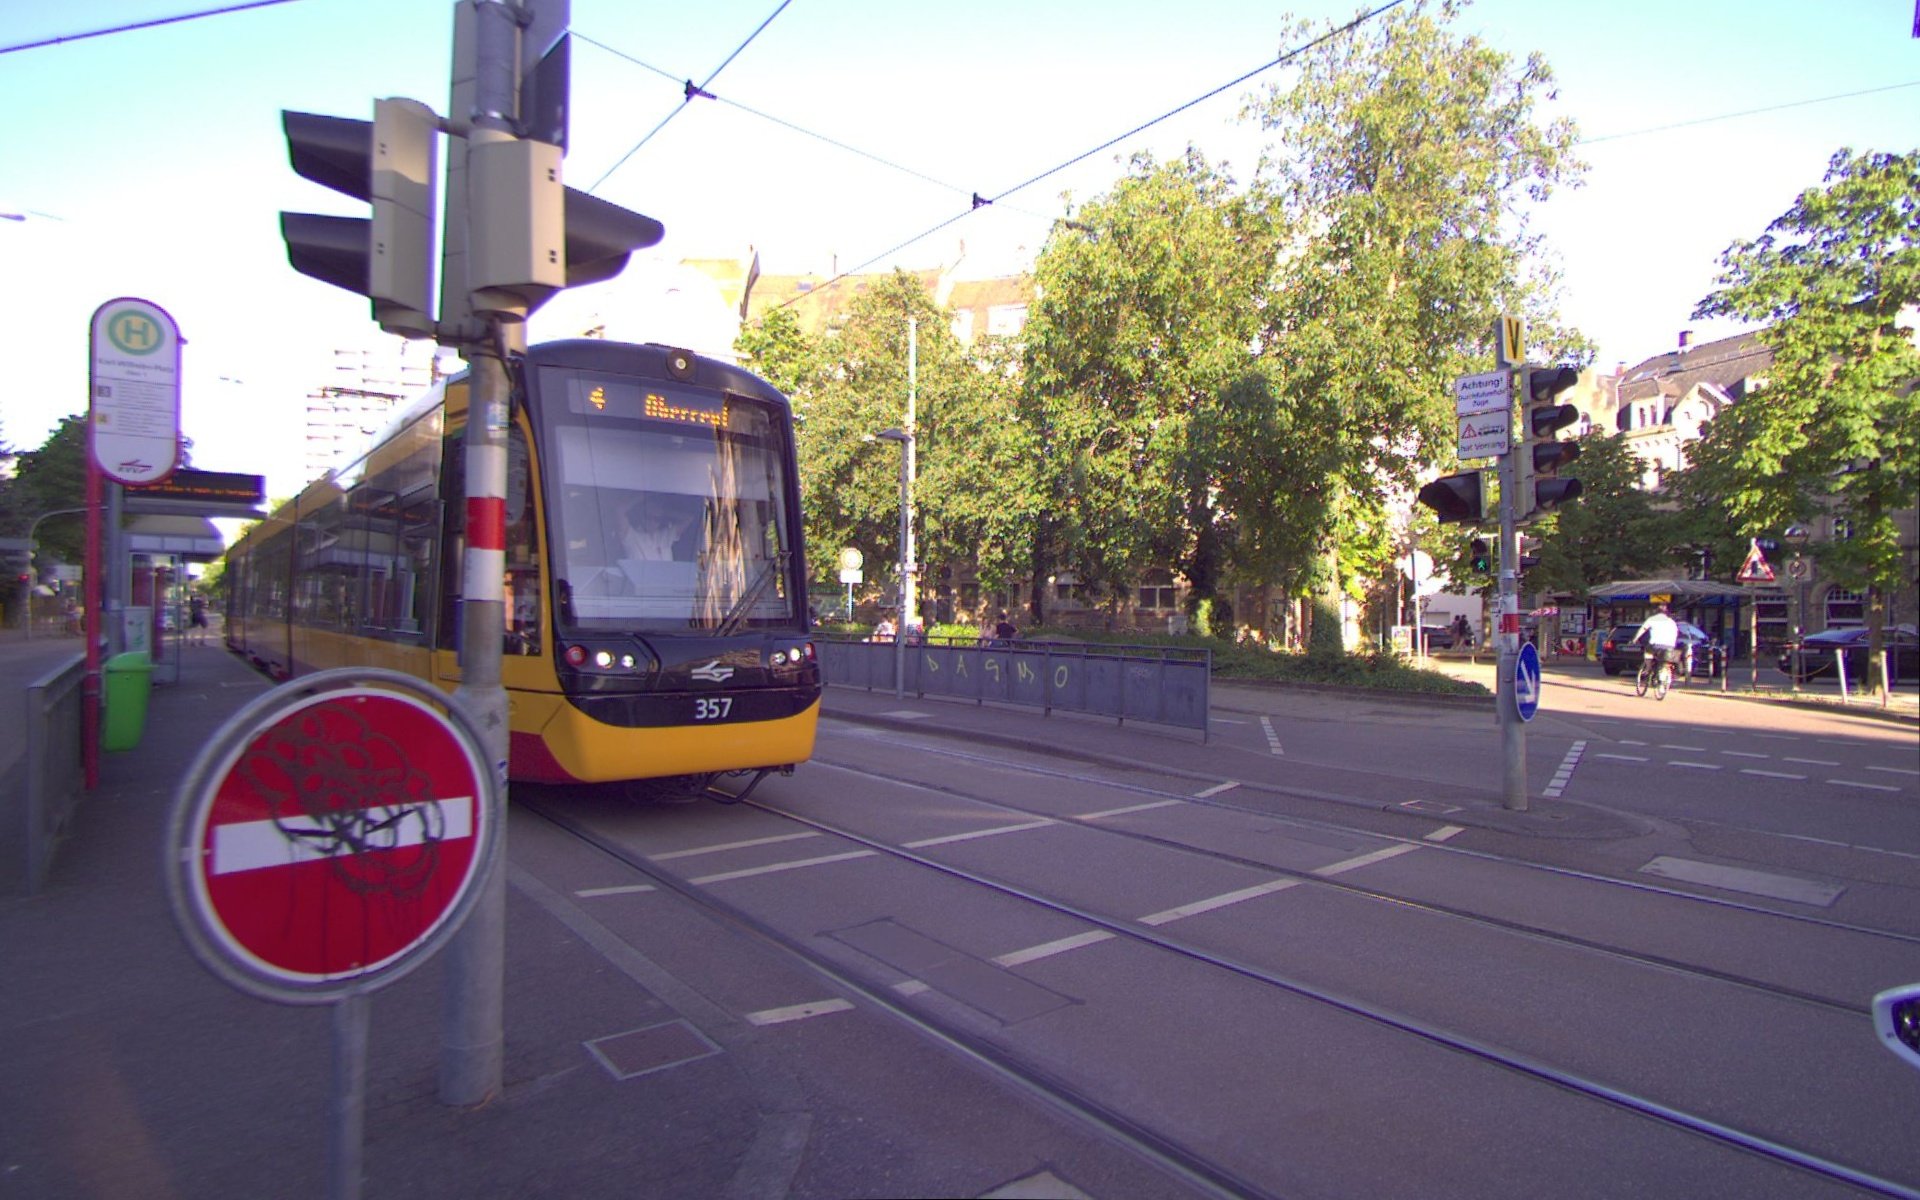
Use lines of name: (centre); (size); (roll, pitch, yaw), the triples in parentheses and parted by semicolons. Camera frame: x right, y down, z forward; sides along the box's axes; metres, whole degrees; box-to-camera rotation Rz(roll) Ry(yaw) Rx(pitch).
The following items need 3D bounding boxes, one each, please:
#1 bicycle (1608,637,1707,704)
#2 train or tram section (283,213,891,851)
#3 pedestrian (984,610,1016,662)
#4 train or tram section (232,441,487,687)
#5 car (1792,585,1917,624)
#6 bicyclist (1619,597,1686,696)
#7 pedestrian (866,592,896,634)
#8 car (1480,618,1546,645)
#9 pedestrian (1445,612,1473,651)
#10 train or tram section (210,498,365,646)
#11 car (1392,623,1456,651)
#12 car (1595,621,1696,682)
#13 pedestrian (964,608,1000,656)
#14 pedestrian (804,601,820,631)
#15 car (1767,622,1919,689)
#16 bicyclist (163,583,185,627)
bicycle: (13.951, 1.377, 20.182); (0.796, 1.200, 2.228); (1, 0, 12)
train or tram section: (-5.272, -0.428, 11.218); (2.777, 3.668, 11.667); (1, 0, -39)
pedestrian: (1.124, 1.007, 28.191); (0.640, 1.407, 0.665); (1, 0, -22)
train or tram section: (-12.780, -0.575, 20.554); (2.763, 3.635, 12.279); (1, 0, -39)
car: (41.589, 0.192, 46.801); (1.848, 1.669, 3.987); (1, 0, -15)
bicyclist: (13.988, 0.918, 20.314); (0.781, 1.939, 0.945); (1, 0, 11)
pedestrian: (-2.603, 0.441, 33.171); (0.728, 1.361, 0.687); (1, 0, -36)
car: (35.522, 1.996, 64.584); (1.644, 1.519, 3.561); (2, 0, -15)
pedestrian: (22.890, 1.436, 46.112); (0.705, 1.773, 0.880); (1, 0, -18)
train or tram section: (-20.559, -0.719, 30.241); (2.750, 3.605, 12.538); (1, 0, -39)
car: (28.379, 2.270, 61.531); (1.644, 1.519, 3.561); (2, 0, -15)
car: (19.708, 1.428, 28.809); (1.771, 1.562, 3.837); (2, 0, 44)
pedestrian: (0.630, 0.919, 29.030); (0.807, 1.361, 0.665); (1, 0, -22)
pedestrian: (-6.781, 0.746, 46.099); (0.515, 1.361, 0.537); (1, 0, 15)
car: (23.627, 1.439, 26.203); (4.296, 1.632, 1.792); (1, 0, -15)
bicyclist: (-28.865, 0.197, 36.878); (0.592, 1.594, 0.550); (2, 0, -37)
